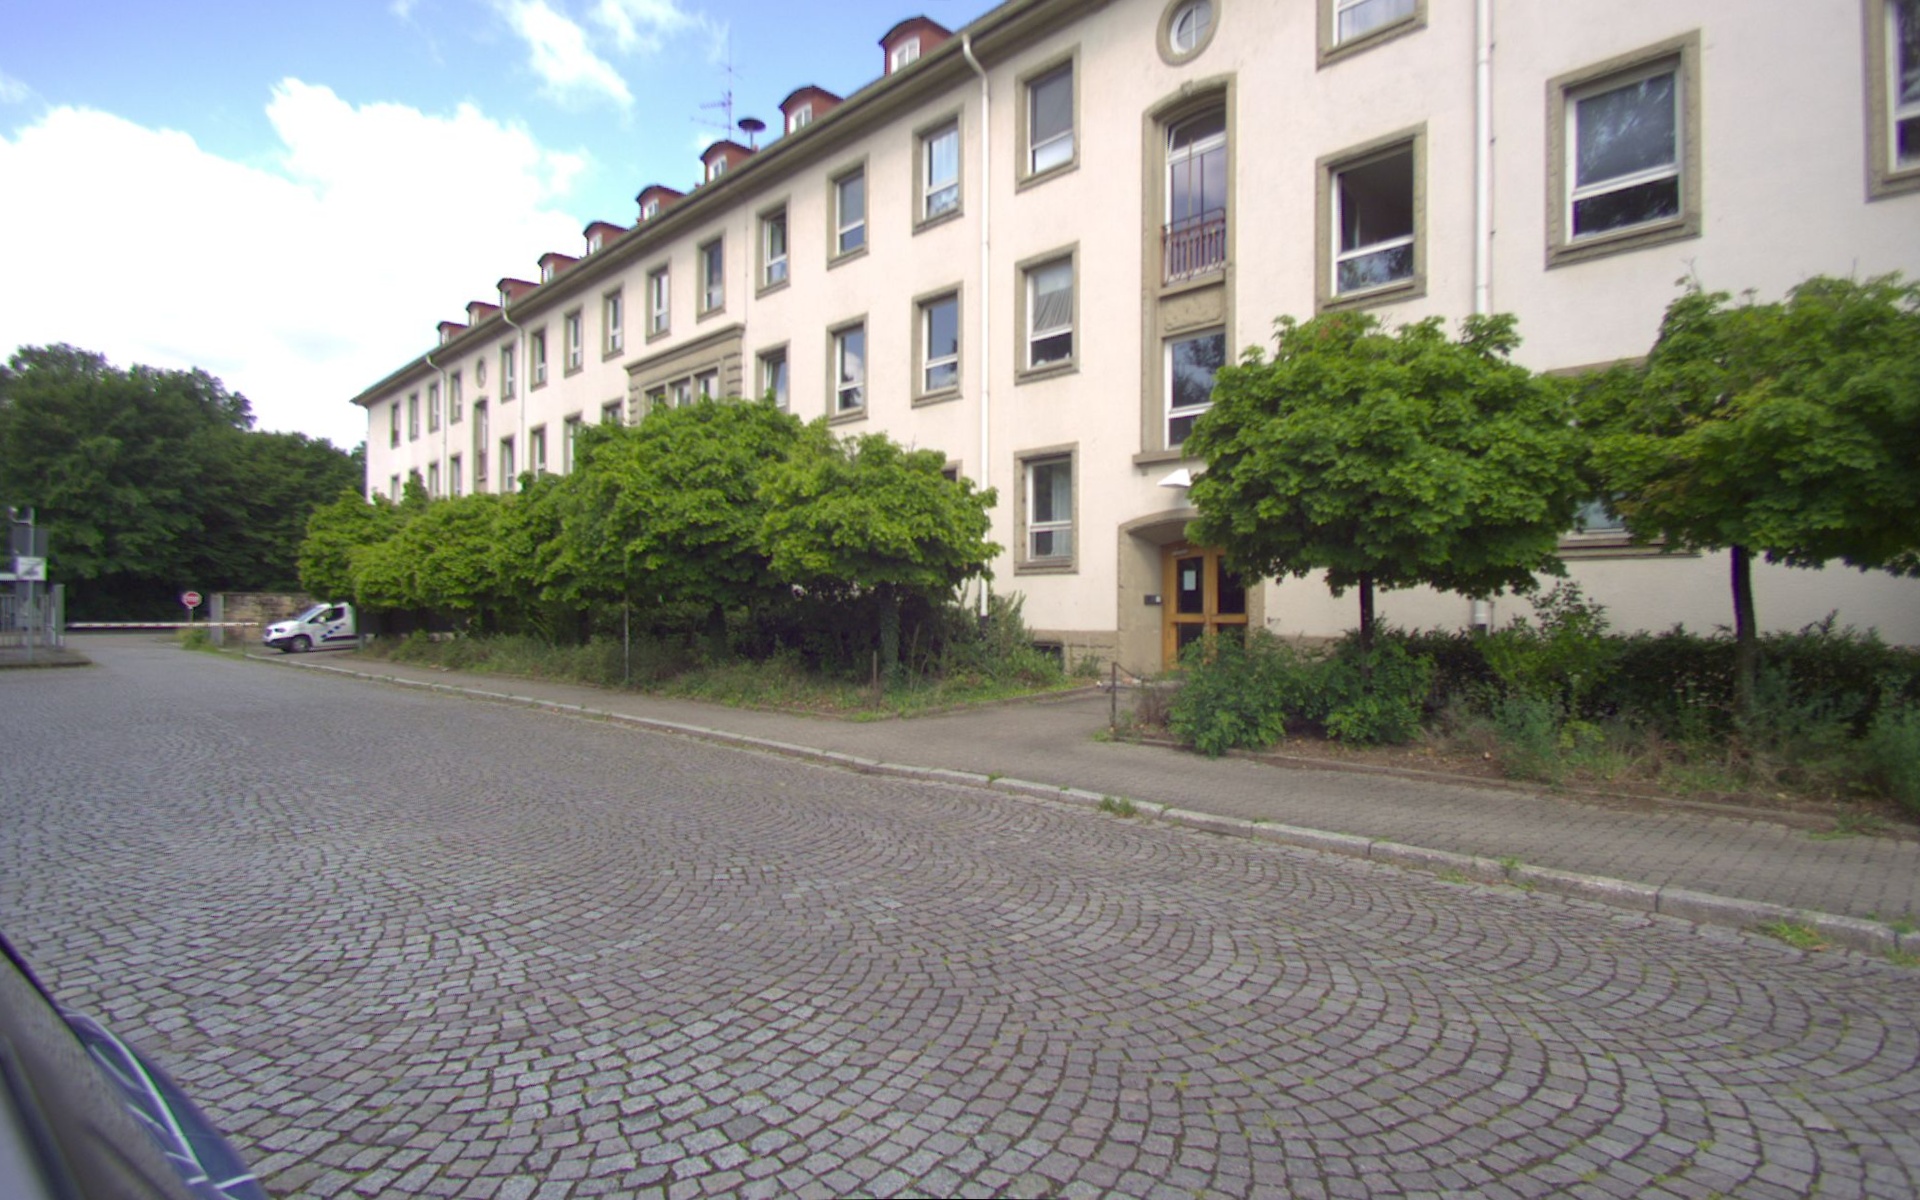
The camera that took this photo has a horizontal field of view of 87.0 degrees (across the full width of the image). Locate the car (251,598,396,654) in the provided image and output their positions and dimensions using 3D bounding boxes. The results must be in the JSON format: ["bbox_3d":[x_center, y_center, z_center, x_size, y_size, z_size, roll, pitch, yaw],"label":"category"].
[{"bbox_3d":[-23.892,0.925,38.096,1.821,1.819,4.254,0,2,43],"label":"car"}]
